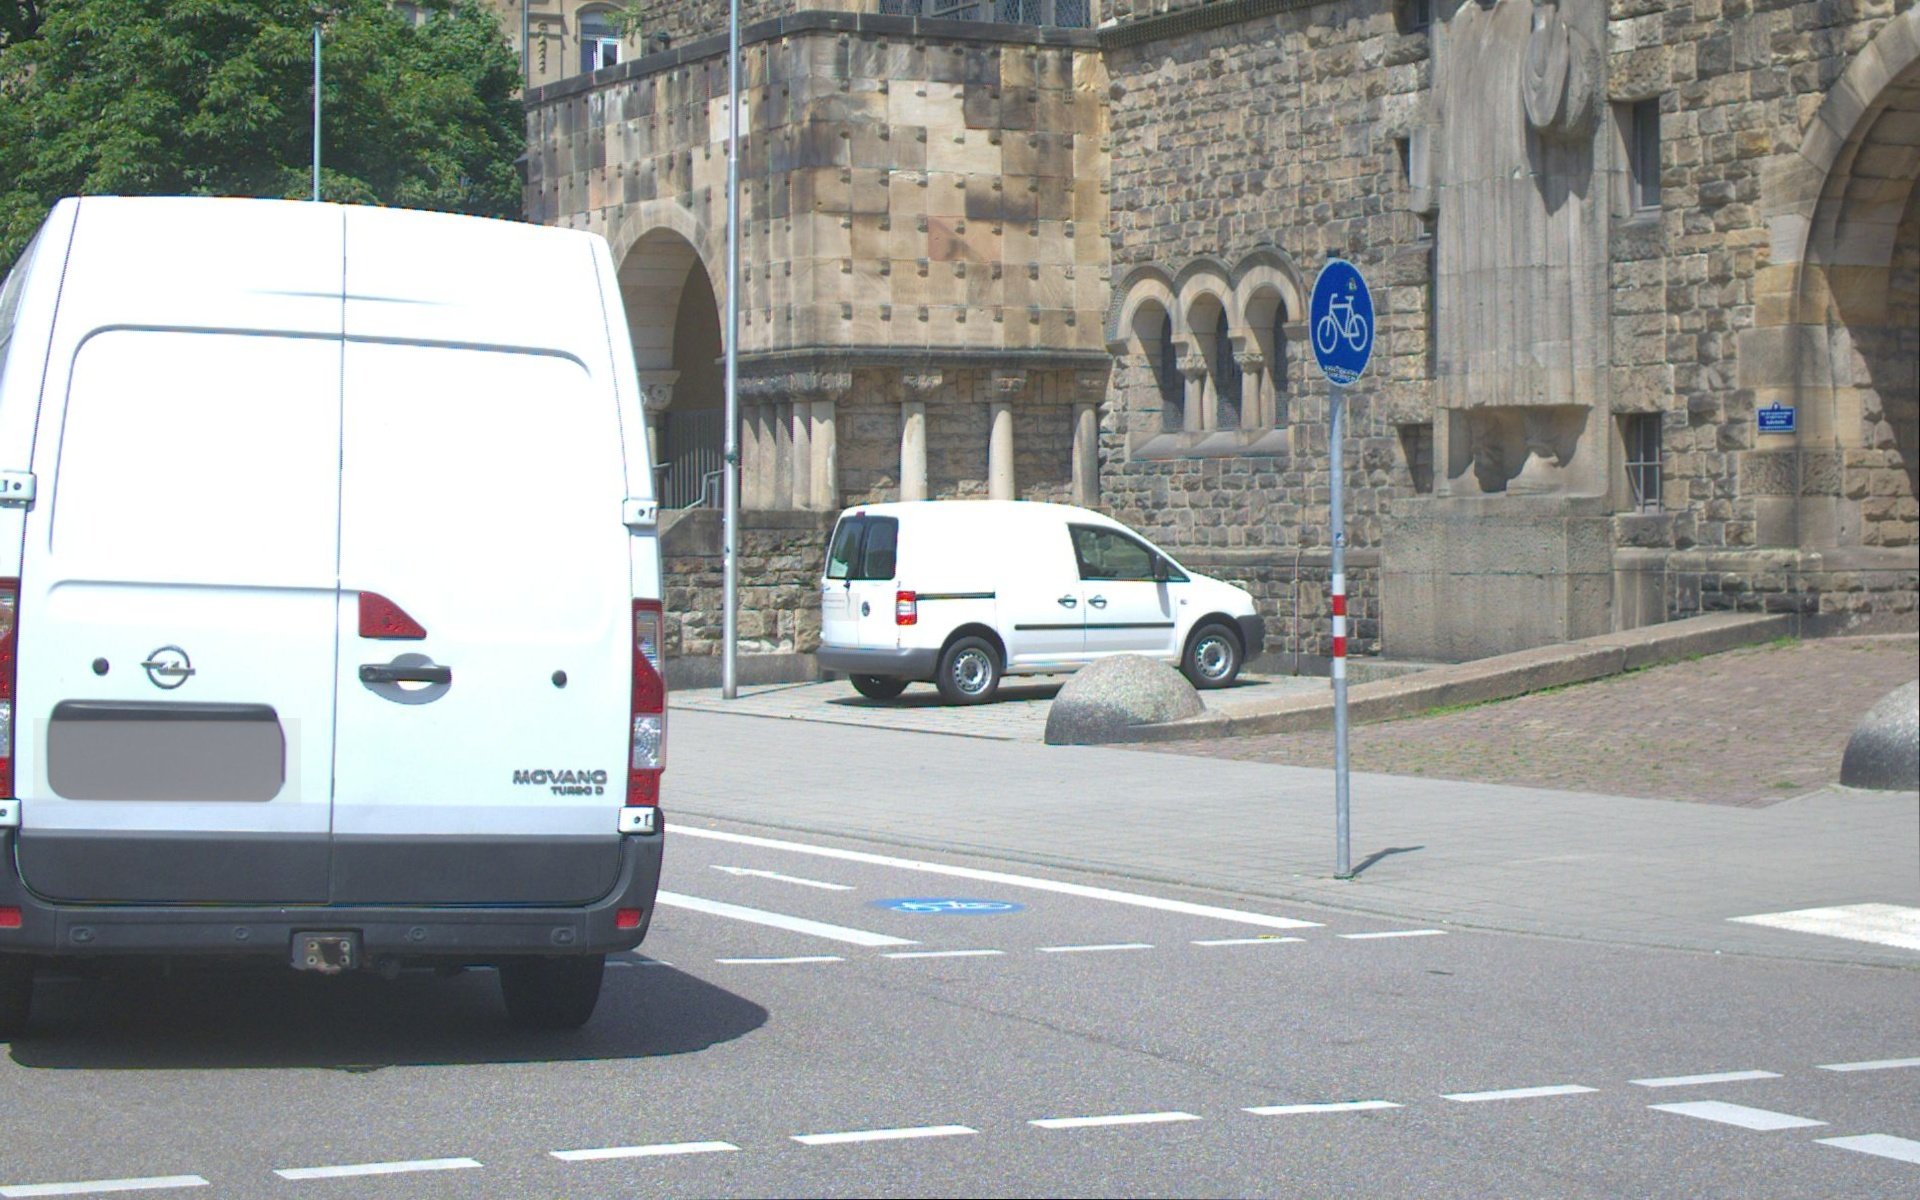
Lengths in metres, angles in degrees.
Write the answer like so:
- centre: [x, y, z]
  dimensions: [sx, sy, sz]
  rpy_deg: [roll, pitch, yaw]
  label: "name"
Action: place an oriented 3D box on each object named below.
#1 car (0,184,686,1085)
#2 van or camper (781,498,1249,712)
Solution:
- centre: [-2.623, 0.072, 12.010]
  dimensions: [2.116, 2.450, 5.056]
  rpy_deg: [1, 0, -19]
  label: "car"
- centre: [0.529, -0.008, 31.959]
  dimensions: [3.987, 1.819, 1.803]
  rpy_deg: [-2, 2, -31]
  label: "van or camper"
